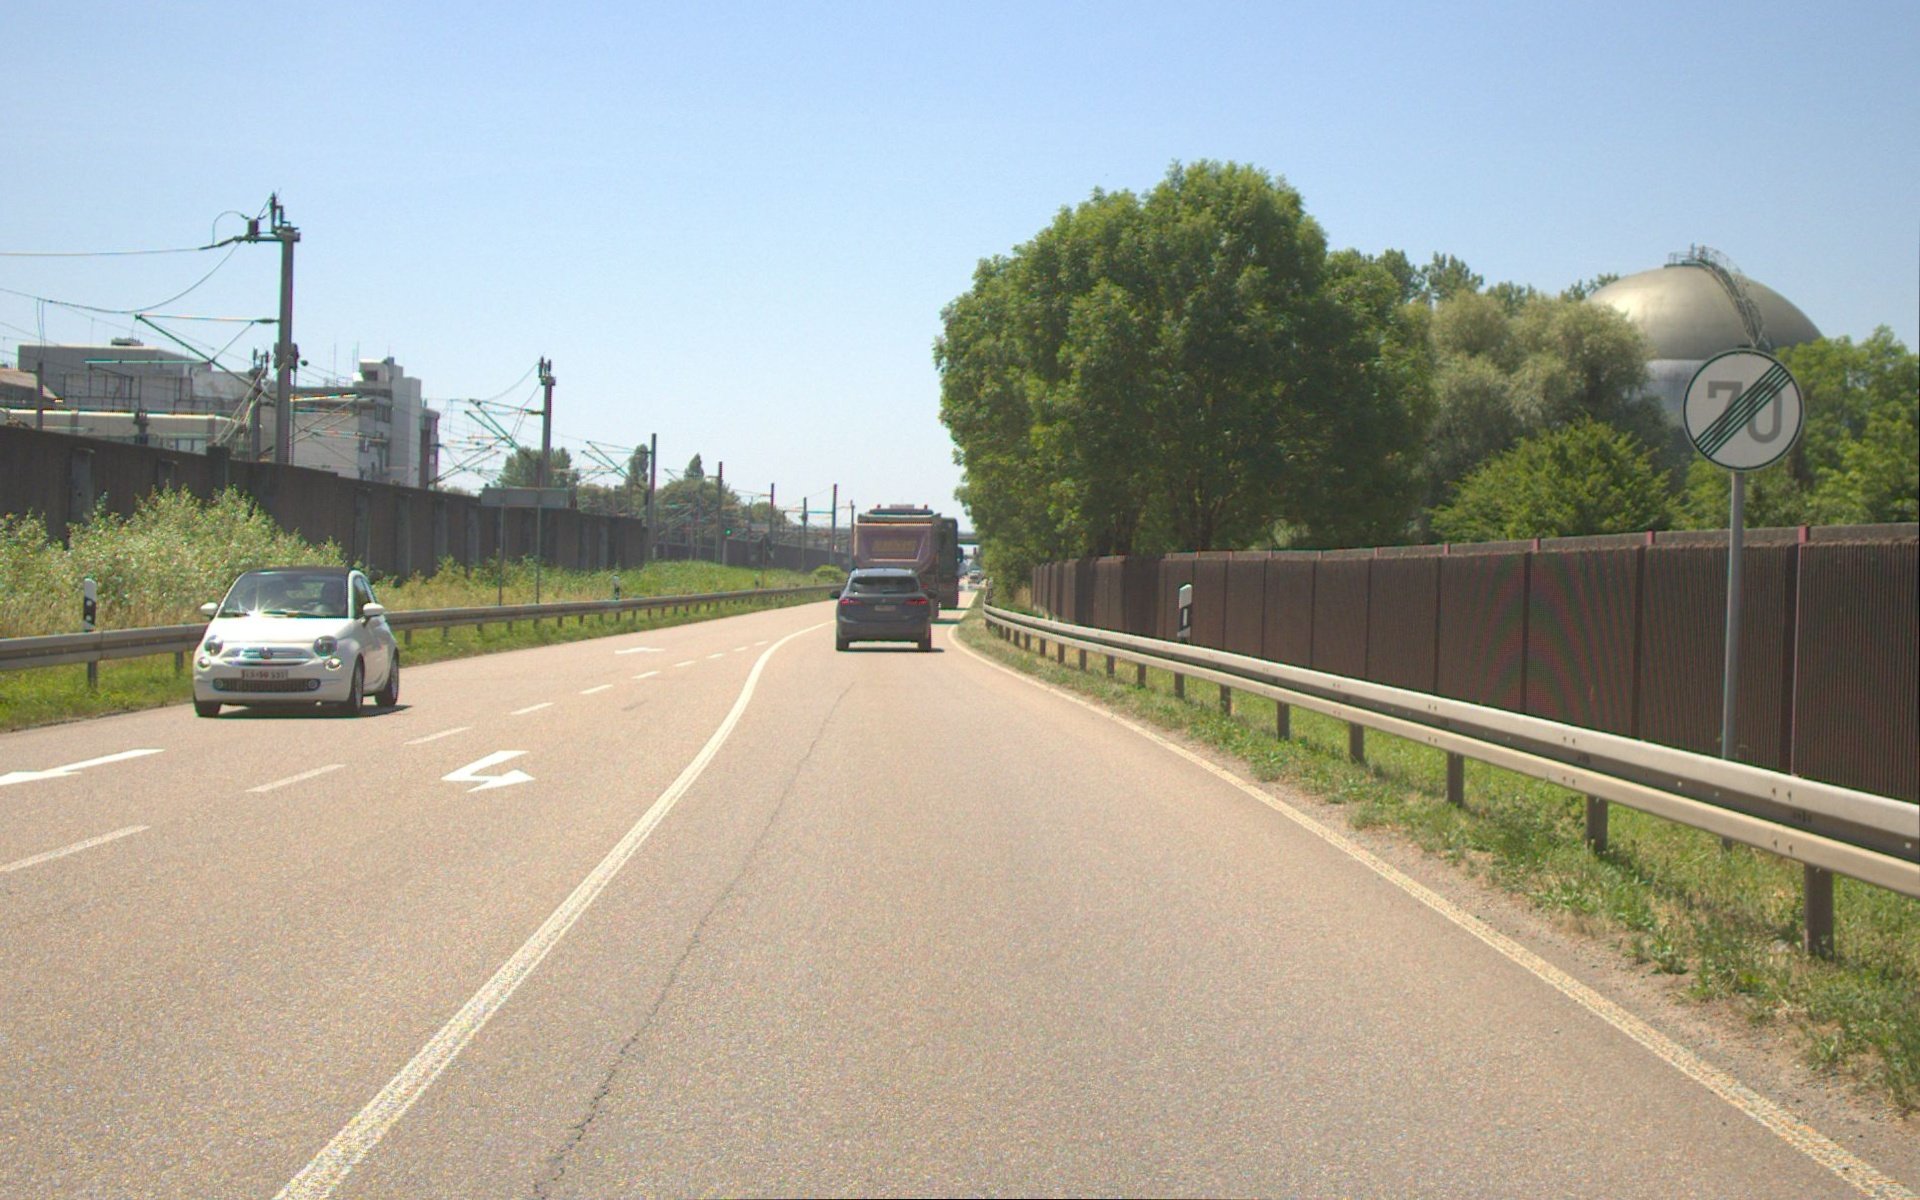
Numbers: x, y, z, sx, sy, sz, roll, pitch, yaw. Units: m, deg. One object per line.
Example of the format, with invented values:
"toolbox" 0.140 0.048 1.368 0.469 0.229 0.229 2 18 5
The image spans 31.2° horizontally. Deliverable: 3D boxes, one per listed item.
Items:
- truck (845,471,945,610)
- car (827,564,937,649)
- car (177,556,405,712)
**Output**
"truck" -2.005 -1.796 110.309 2.996 4.166 11.807 1 0 0
"car" -1.454 0.147 65.868 1.993 1.498 4.000 2 -1 0
"car" -6.796 0.314 35.241 1.672 1.497 3.722 1 1 -1
